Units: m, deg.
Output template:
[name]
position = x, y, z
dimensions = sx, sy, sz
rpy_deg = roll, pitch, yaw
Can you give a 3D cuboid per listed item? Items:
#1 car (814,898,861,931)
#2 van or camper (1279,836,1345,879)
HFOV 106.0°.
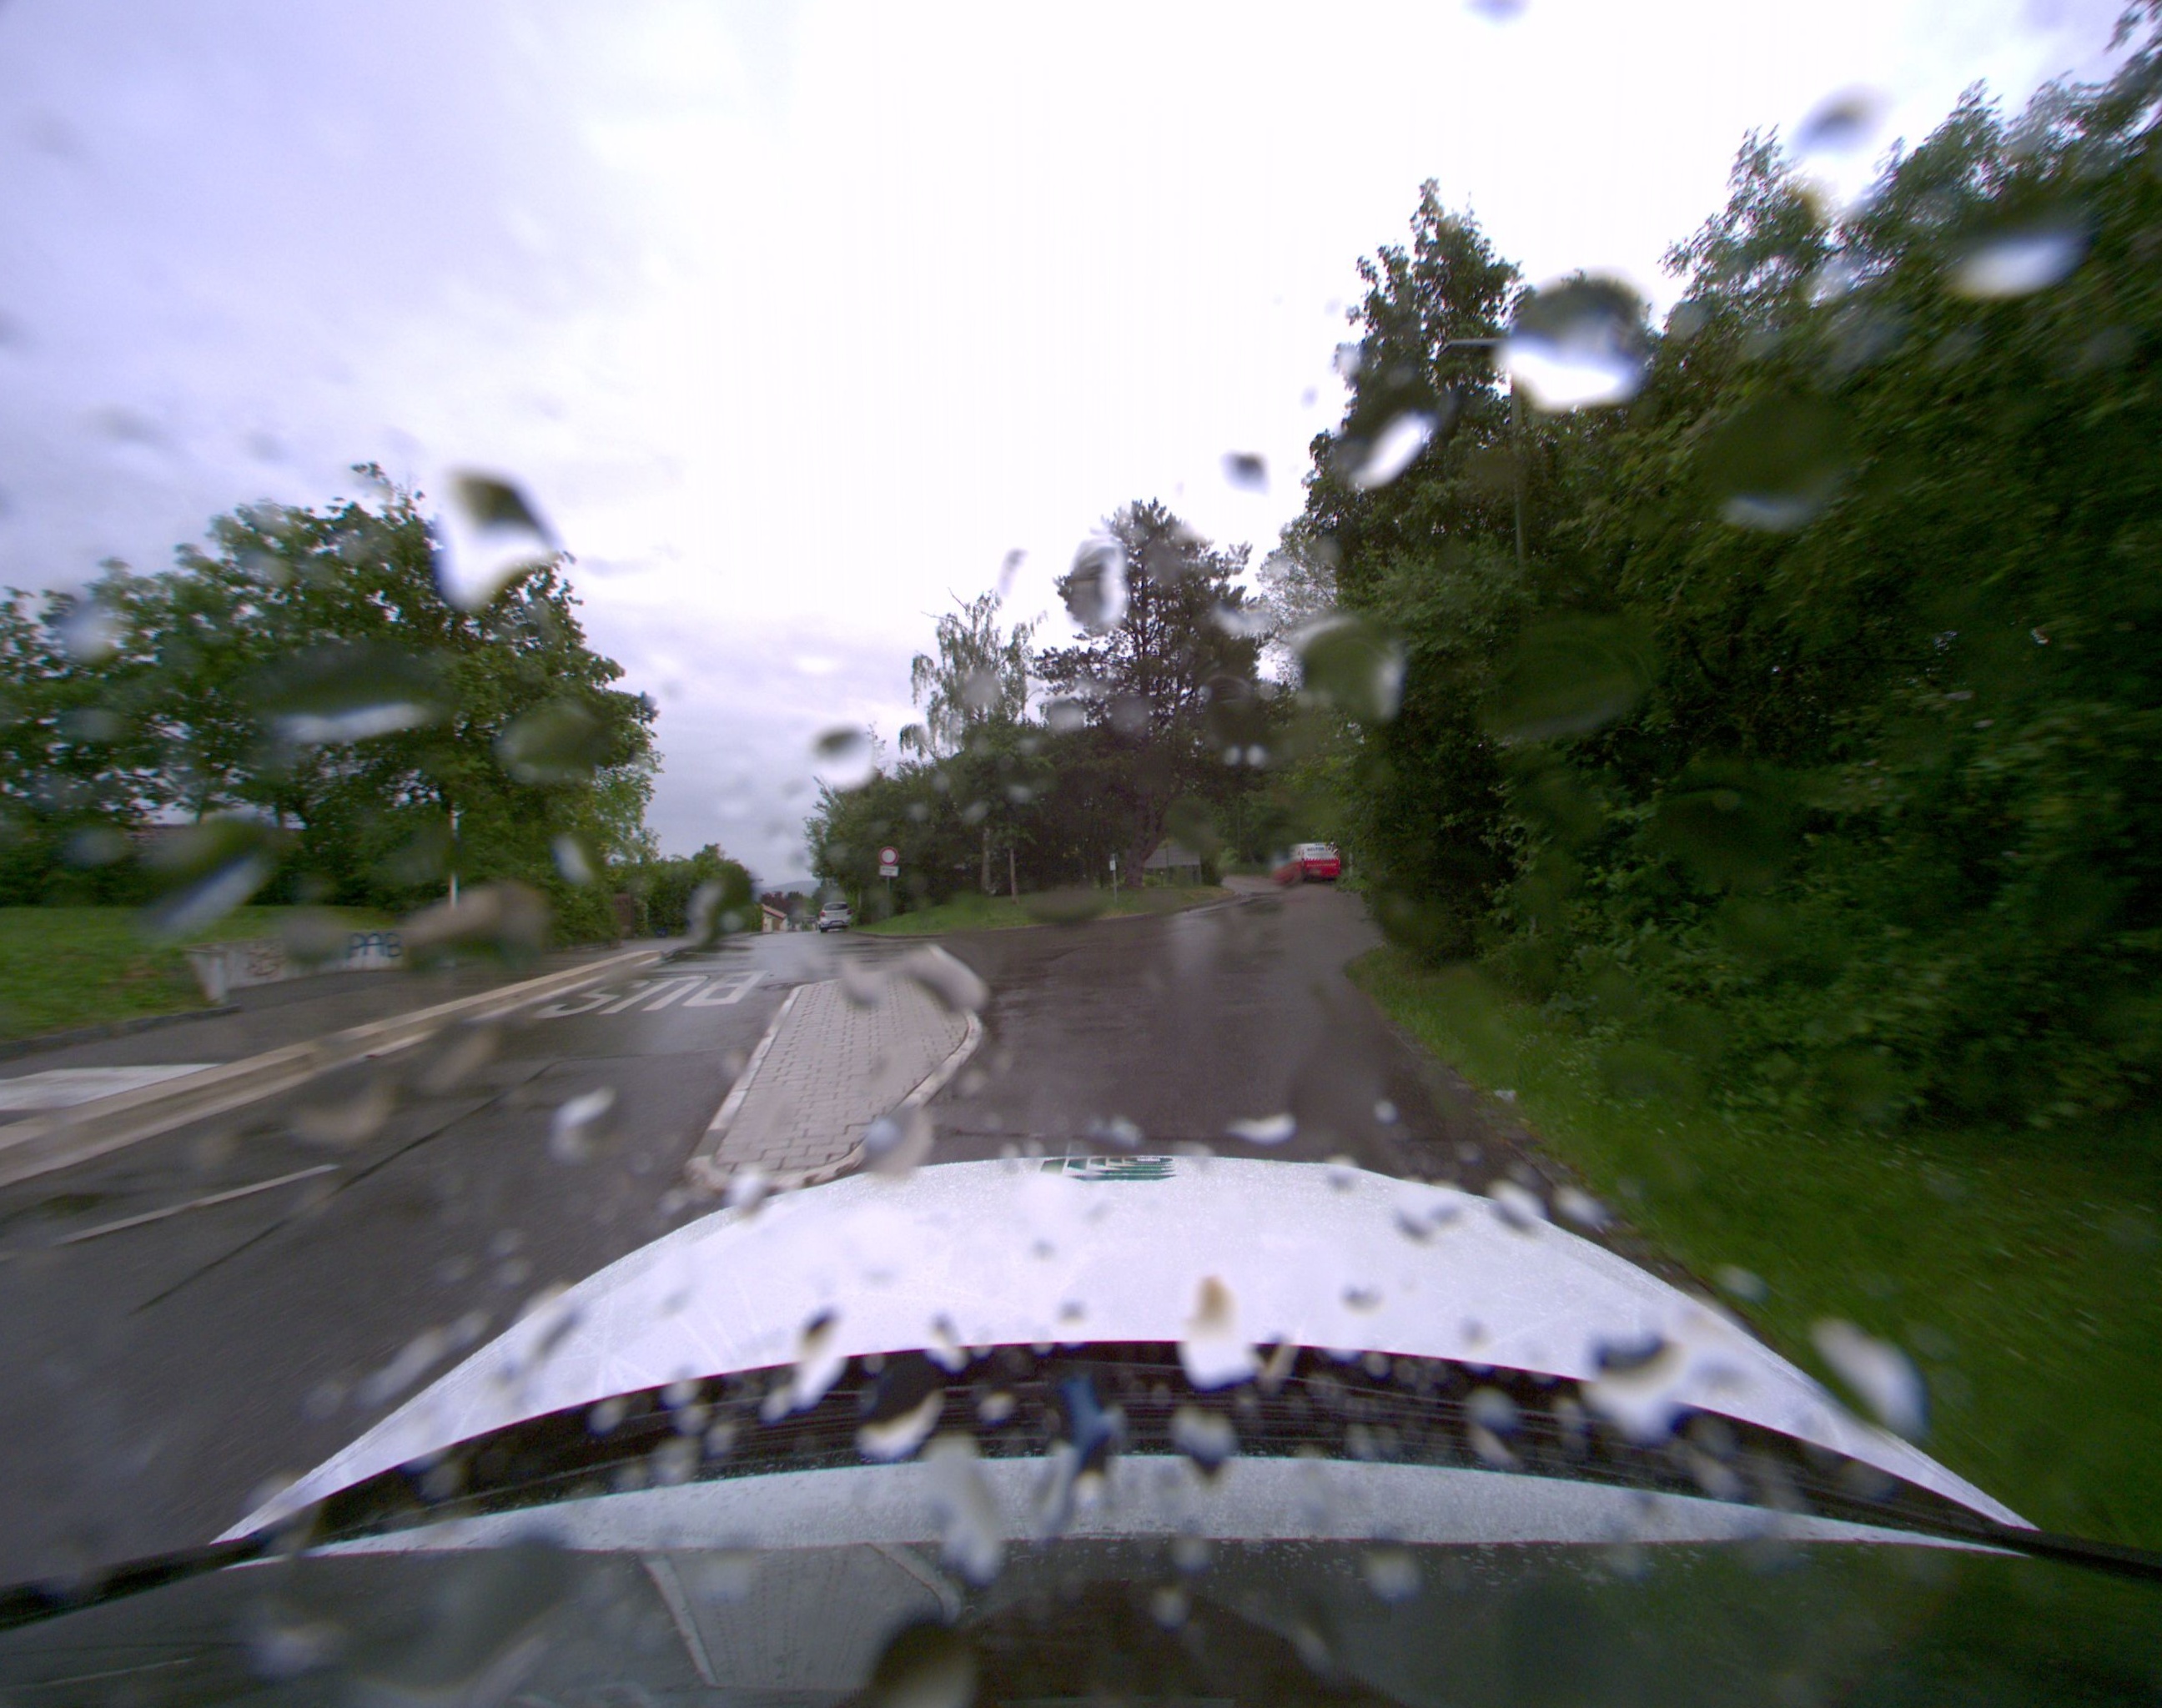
[car]
position = -12.747, 3.186, 42.853
dimensions = 1.994, 1.584, 3.983
rpy_deg = 0, -5, -11
[van or camper]
position = 10.974, 0.211, 39.077
dimensions = 1.986, 1.882, 4.454
rpy_deg = -2, -2, 2
